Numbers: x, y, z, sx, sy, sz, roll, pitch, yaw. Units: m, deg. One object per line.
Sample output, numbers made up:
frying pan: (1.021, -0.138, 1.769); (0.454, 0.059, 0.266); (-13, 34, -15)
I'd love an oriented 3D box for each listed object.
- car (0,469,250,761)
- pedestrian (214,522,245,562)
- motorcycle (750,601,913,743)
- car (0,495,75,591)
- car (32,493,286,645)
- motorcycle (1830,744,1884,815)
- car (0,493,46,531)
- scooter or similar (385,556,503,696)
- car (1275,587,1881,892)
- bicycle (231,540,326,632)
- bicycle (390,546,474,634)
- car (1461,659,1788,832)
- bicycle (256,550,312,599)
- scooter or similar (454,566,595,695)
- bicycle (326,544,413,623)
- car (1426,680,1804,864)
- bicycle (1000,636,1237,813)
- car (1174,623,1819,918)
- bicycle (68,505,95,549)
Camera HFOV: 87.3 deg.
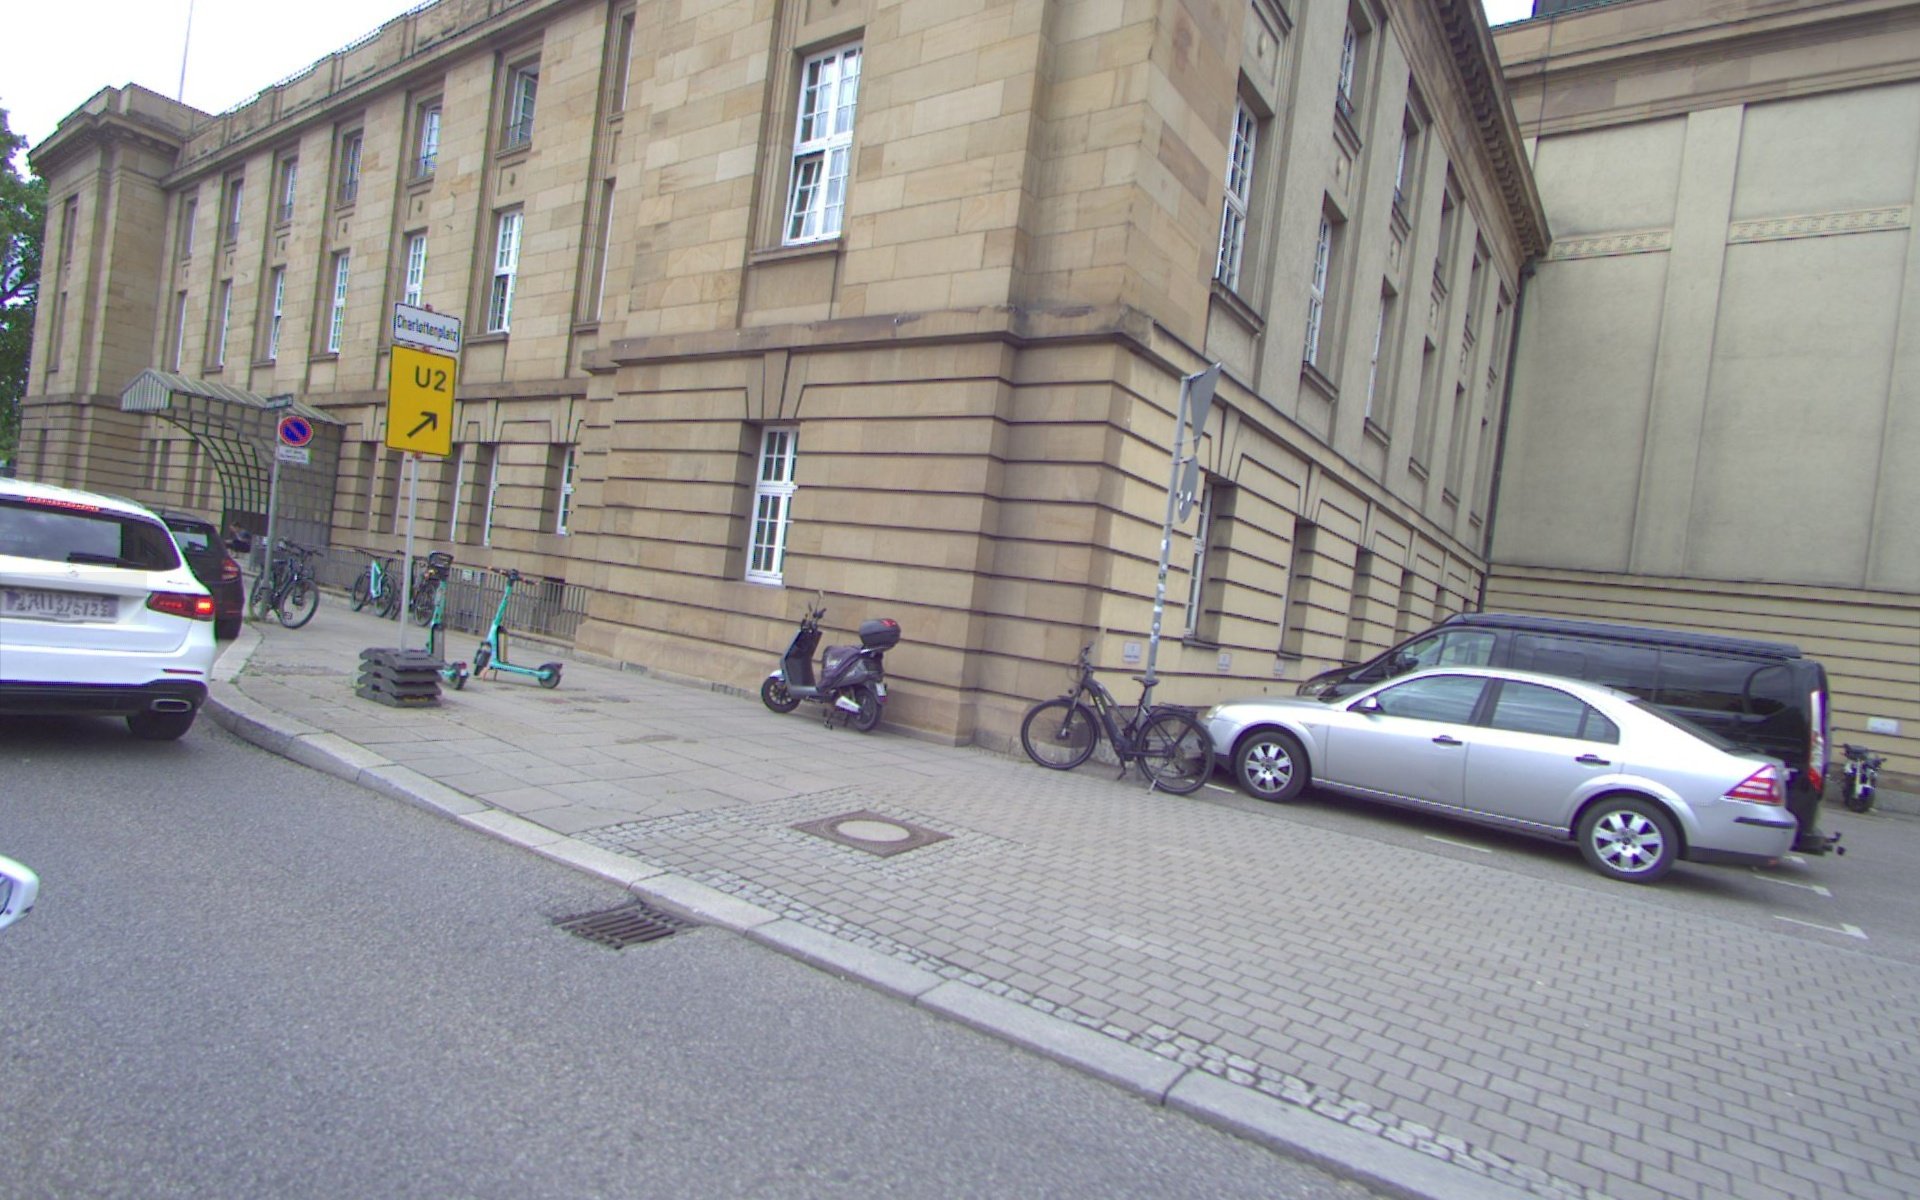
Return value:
car: (-7.087, -0.085, 7.123); (4.366, 1.643, 1.791); (7, -2, 34)
pedestrian: (-17.907, -1.425, 24.659); (0.367, 0.883, 0.429); (6, -2, 37)
motorcycle: (-1.419, 0.738, 10.823); (1.894, 1.258, 0.454); (7, 1, 40)
car: (-17.047, -1.115, 17.486); (3.798, 1.473, 1.615); (7, 0, 36)
car: (-10.429, -0.425, 13.029); (3.649, 1.572, 1.545); (7, 2, 35)
motorcycle: (19.206, 3.819, 21.574); (0.550, 1.304, 2.083); (7, 0, 37)
car: (-48.484, -4.591, 50.265); (1.653, 1.587, 3.838); (7, -1, 36)
scooter or similar: (-5.341, 0.252, 10.378); (1.381, 1.277, 0.379); (7, 0, 36)
car: (6.159, 1.258, 10.636); (4.838, 2.093, 1.950); (8, -1, 35)
bicycle: (-10.143, -0.219, 14.944); (1.802, 1.170, 0.460); (7, 0, 35)
bicycle: (-8.960, -0.184, 17.045); (1.763, 1.304, 0.412); (7, 0, 36)
car: (9.370, 1.986, 14.422); (3.559, 1.689, 1.645); (8, -1, 35)
bicycle: (-13.988, -0.531, 20.806); (1.850, 0.853, 0.306); (6, -2, 38)
scooter or similar: (-4.833, 0.335, 11.171); (1.343, 1.268, 0.452); (6, 0, 16)
bicycle: (-10.861, -0.317, 18.478); (1.886, 1.231, 0.555); (7, 0, 36)
car: (7.924, 2.008, 12.437); (3.559, 1.429, 1.645); (8, -1, 35)
bicycle: (1.399, 1.059, 9.093); (1.931, 1.241, 0.609); (7, 3, 33)
car: (4.436, 1.287, 8.902); (4.502, 1.486, 1.780); (8, -1, 35)
bicycle: (-25.869, -2.165, 29.623); (1.515, 1.197, 0.275); (6, 1, 39)
